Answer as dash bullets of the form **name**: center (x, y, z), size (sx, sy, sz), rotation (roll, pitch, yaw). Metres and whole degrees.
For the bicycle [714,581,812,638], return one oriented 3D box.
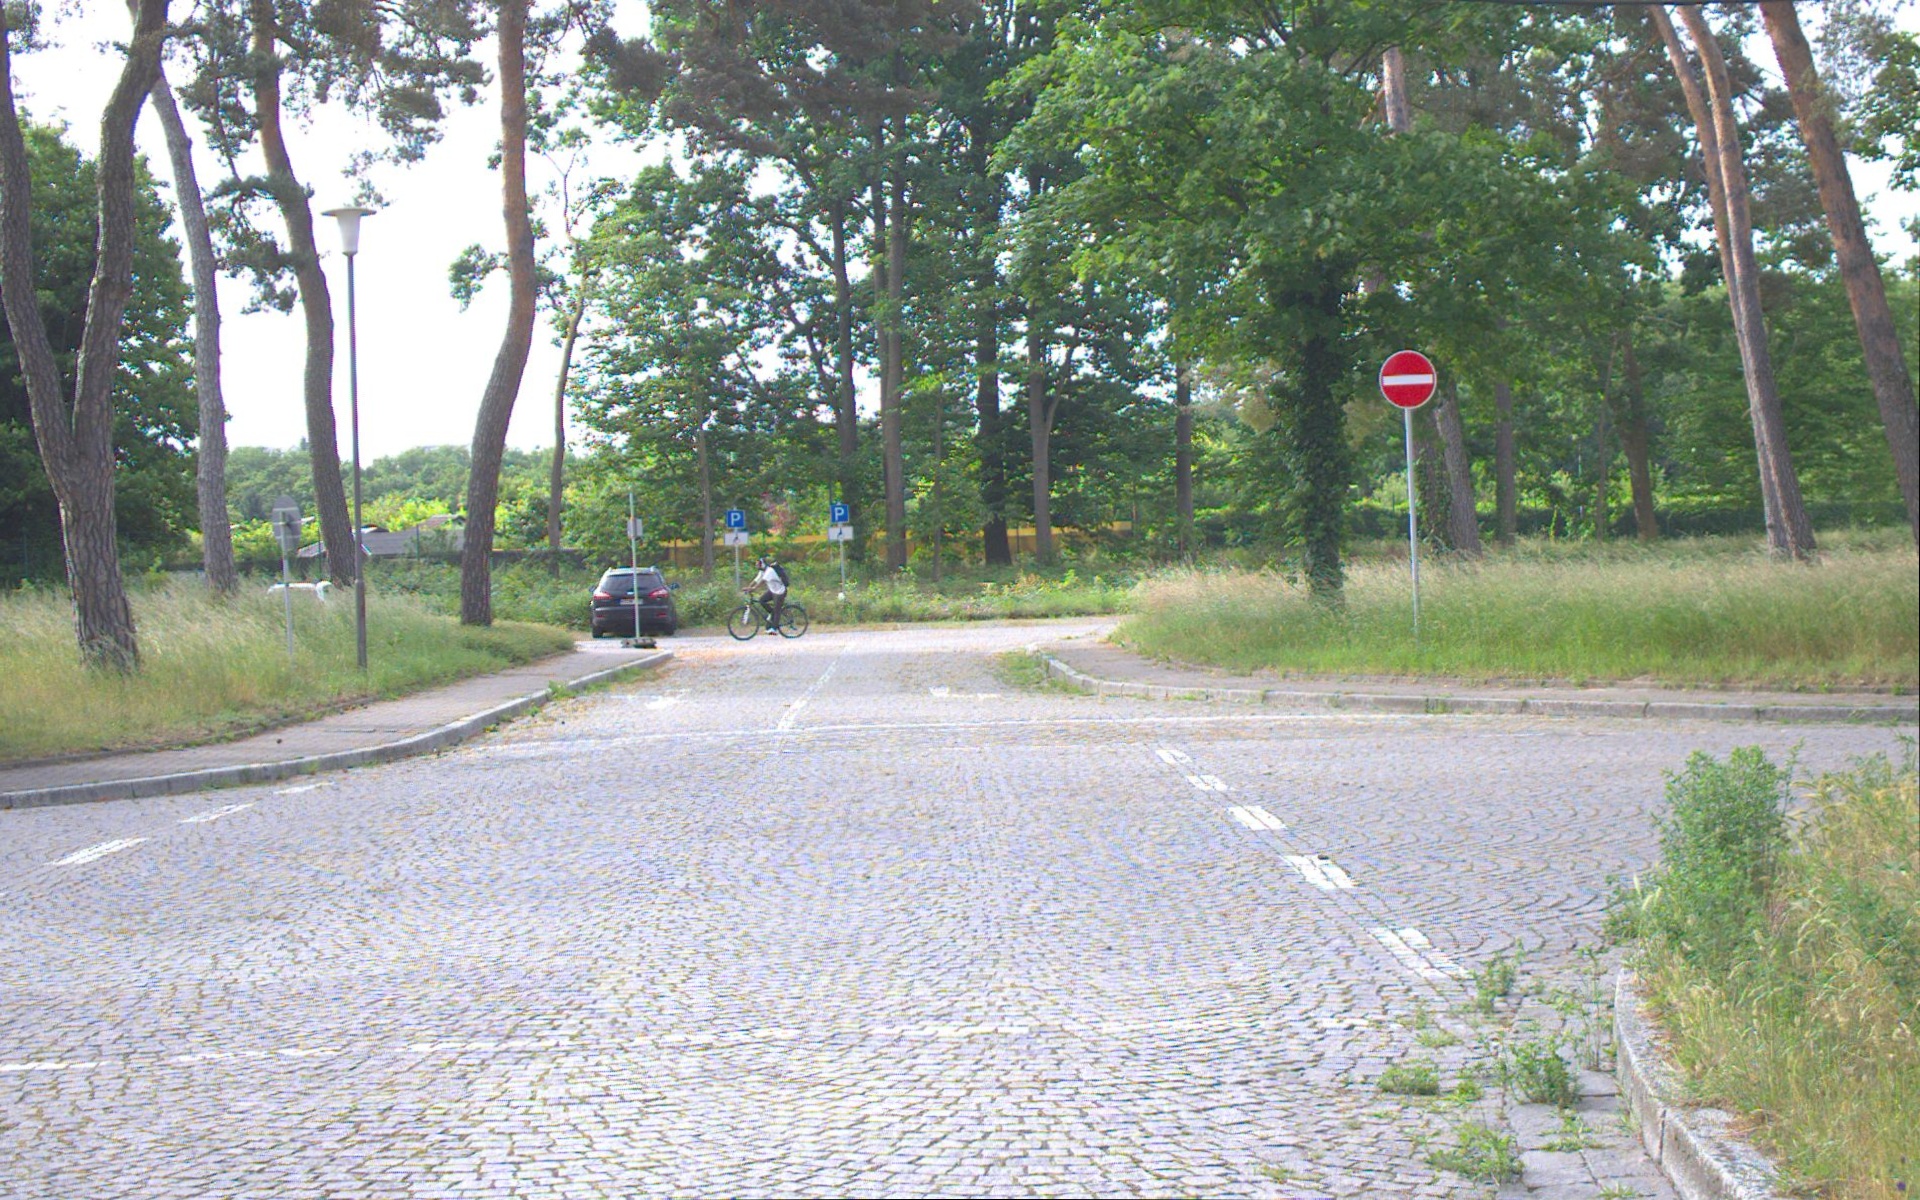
- **bicycle**: center (-4.109, 0.197, 71.600), size (1.986, 1.091, 0.810), rotation (-2, 1, -4)

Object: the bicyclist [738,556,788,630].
- **bicyclist**: center (-4.104, -0.155, 71.611), size (0.974, 1.505, 0.807), rotation (-2, 1, -4)

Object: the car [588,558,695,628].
- **car**: center (-7.134, -0.183, 77.330), size (1.993, 1.503, 4.000), rotation (0, 1, 0)

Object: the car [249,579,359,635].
- **car**: center (-14.930, 0.149, 78.453), size (1.689, 1.152, 4.000), rotation (-2, 1, 0)
